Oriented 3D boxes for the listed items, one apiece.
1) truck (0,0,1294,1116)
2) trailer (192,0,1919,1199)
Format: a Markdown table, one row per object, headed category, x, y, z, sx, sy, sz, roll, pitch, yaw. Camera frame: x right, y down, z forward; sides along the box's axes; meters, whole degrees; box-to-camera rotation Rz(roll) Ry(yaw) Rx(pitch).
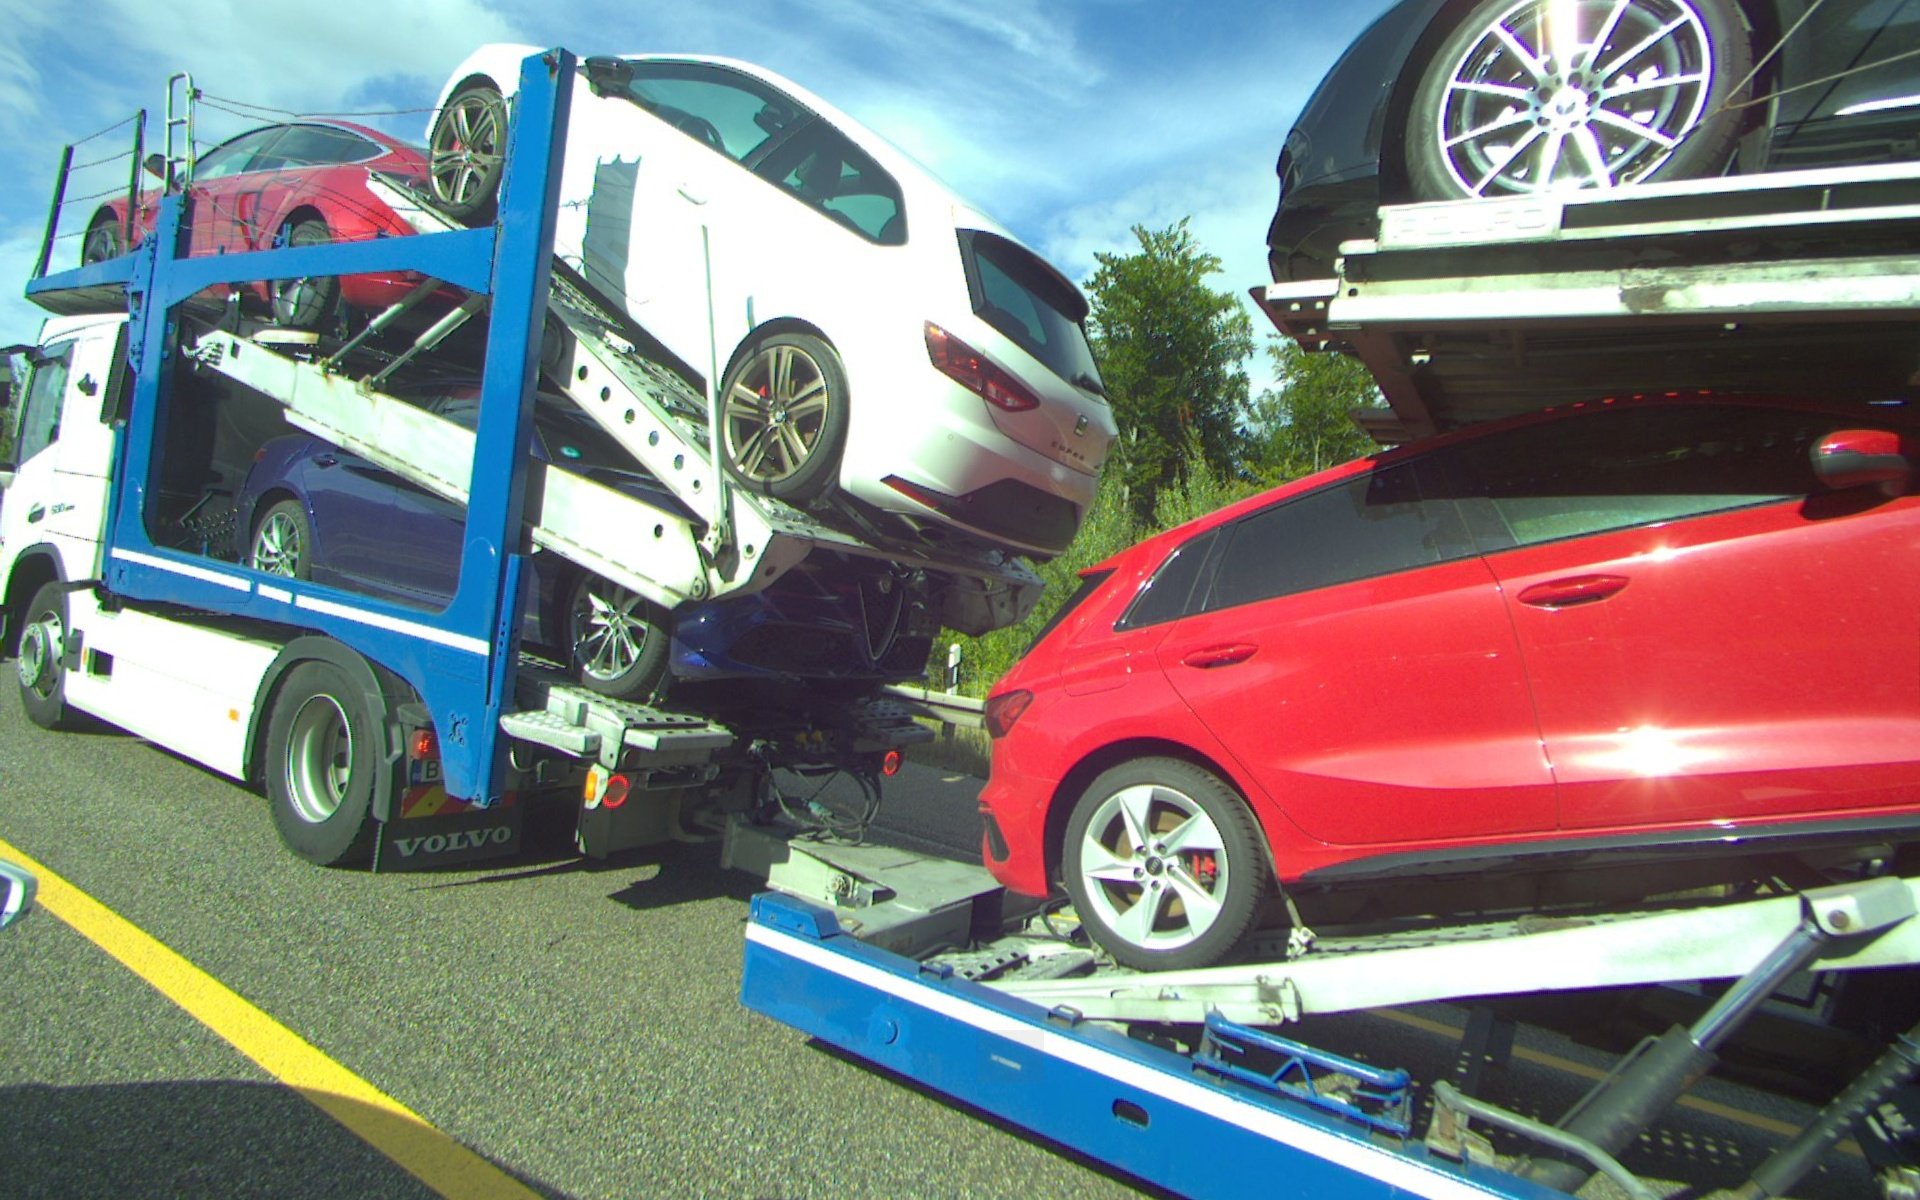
| category | x | y | z | sx | sy | sz | roll | pitch | yaw |
| --- | --- | --- | --- | --- | --- | --- | --- | --- | --- |
| truck | -2.479 | -0.819 | 6.519 | 7.818 | 4.245 | 3.769 | 6 | -2 | 31 |
| trailer | 4.240 | -0.133 | 2.340 | 15.957 | 4.245 | 3.734 | 6 | -2 | 31 |
